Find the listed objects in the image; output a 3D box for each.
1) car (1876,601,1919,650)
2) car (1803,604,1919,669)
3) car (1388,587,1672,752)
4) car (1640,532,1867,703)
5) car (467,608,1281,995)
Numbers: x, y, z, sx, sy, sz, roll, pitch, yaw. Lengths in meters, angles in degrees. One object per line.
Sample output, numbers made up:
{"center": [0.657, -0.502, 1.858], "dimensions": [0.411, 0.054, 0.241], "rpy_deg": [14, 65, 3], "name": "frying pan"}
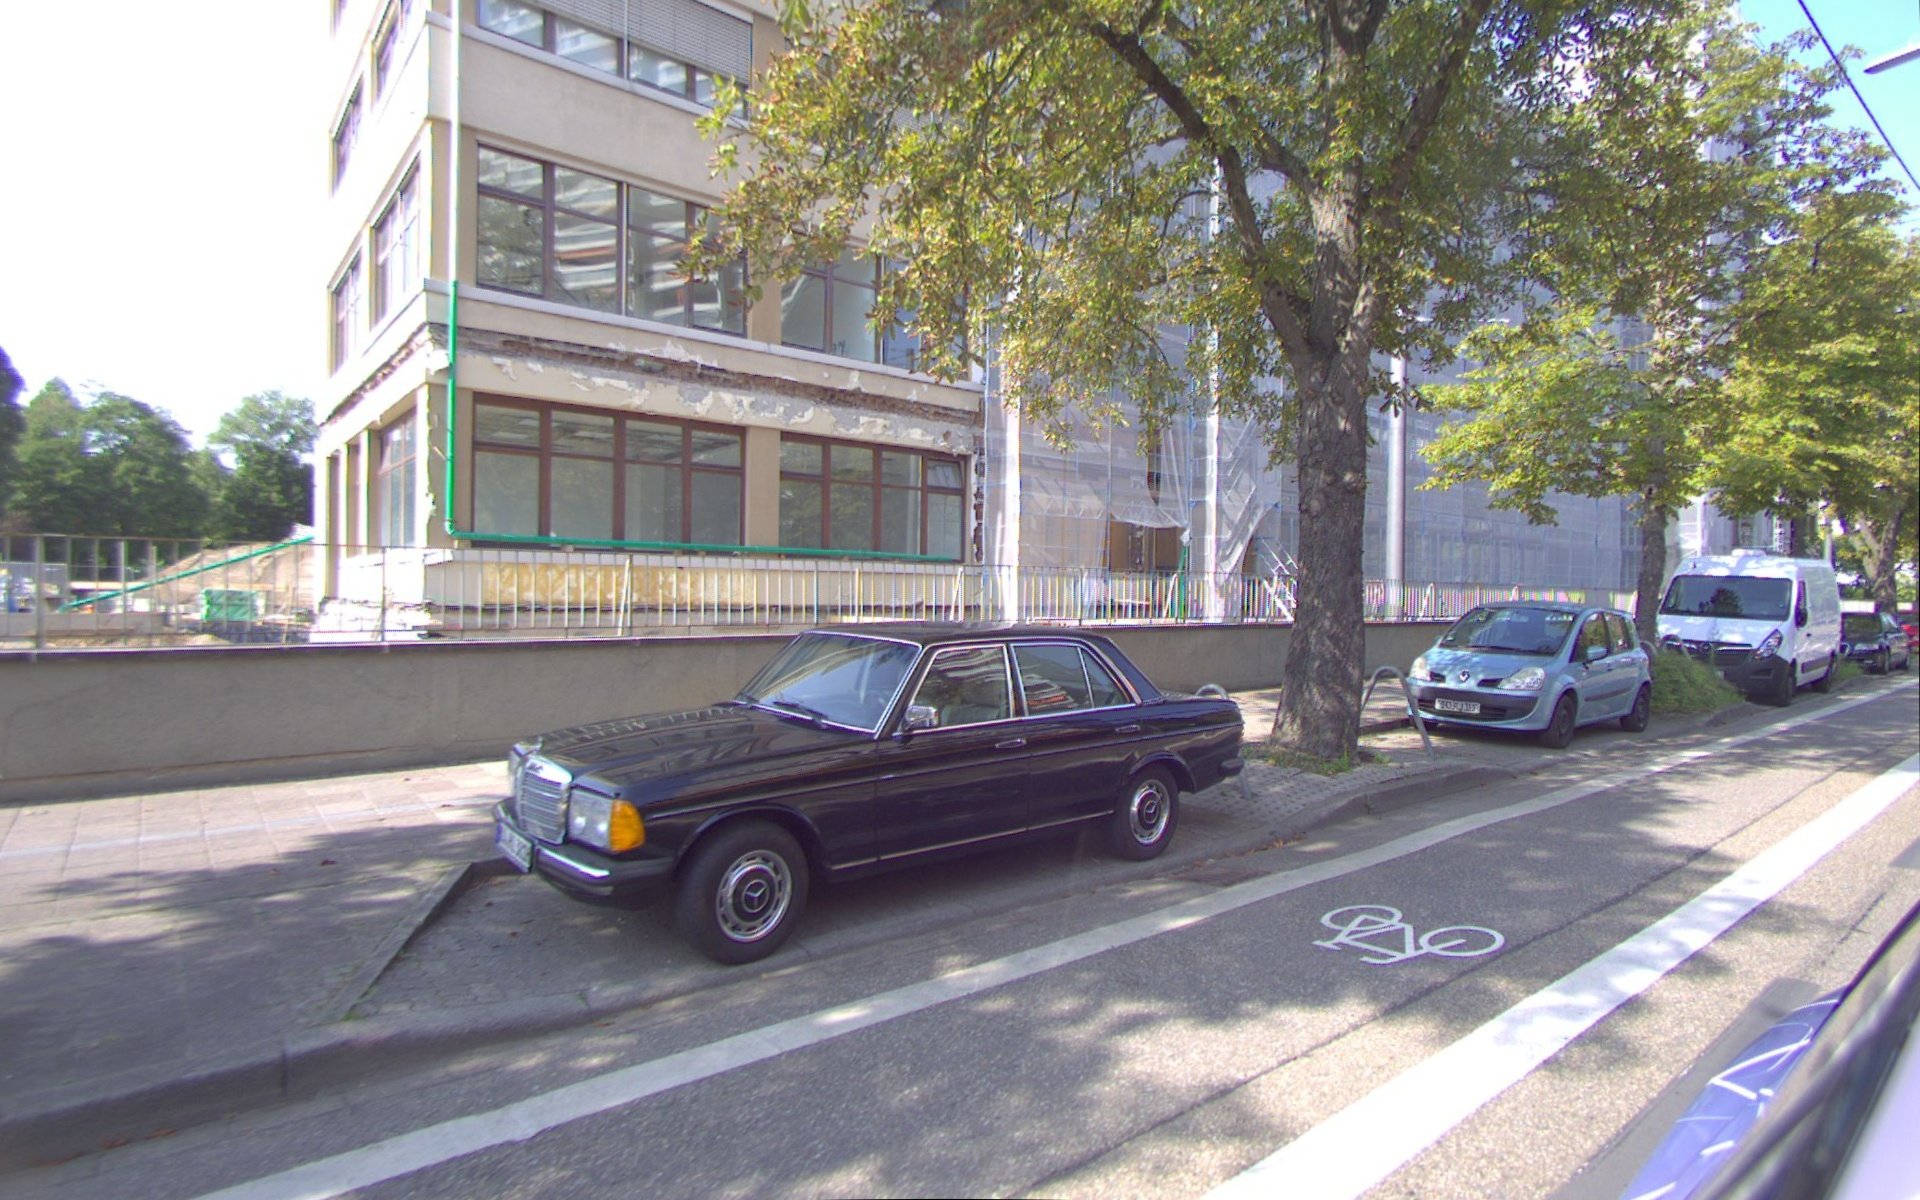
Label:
{"center": [29.709, 0.764, 31.206], "dimensions": [3.928, 1.431, 1.620], "rpy_deg": [0, 1, -39], "name": "car"}
{"center": [21.930, 0.822, 24.359], "dimensions": [4.740, 1.391, 1.620], "rpy_deg": [0, 1, -39], "name": "car"}
{"center": [6.914, 0.724, 12.129], "dimensions": [3.807, 1.637, 1.668], "rpy_deg": [1, 1, -39], "name": "car"}
{"center": [14.244, 0.225, 18.039], "dimensions": [5.405, 2.583, 2.087], "rpy_deg": [0, 3, -41], "name": "car"}
{"center": [-0.194, 0.783, 6.008], "dimensions": [4.634, 1.394, 1.758], "rpy_deg": [0, 2, -40], "name": "car"}
